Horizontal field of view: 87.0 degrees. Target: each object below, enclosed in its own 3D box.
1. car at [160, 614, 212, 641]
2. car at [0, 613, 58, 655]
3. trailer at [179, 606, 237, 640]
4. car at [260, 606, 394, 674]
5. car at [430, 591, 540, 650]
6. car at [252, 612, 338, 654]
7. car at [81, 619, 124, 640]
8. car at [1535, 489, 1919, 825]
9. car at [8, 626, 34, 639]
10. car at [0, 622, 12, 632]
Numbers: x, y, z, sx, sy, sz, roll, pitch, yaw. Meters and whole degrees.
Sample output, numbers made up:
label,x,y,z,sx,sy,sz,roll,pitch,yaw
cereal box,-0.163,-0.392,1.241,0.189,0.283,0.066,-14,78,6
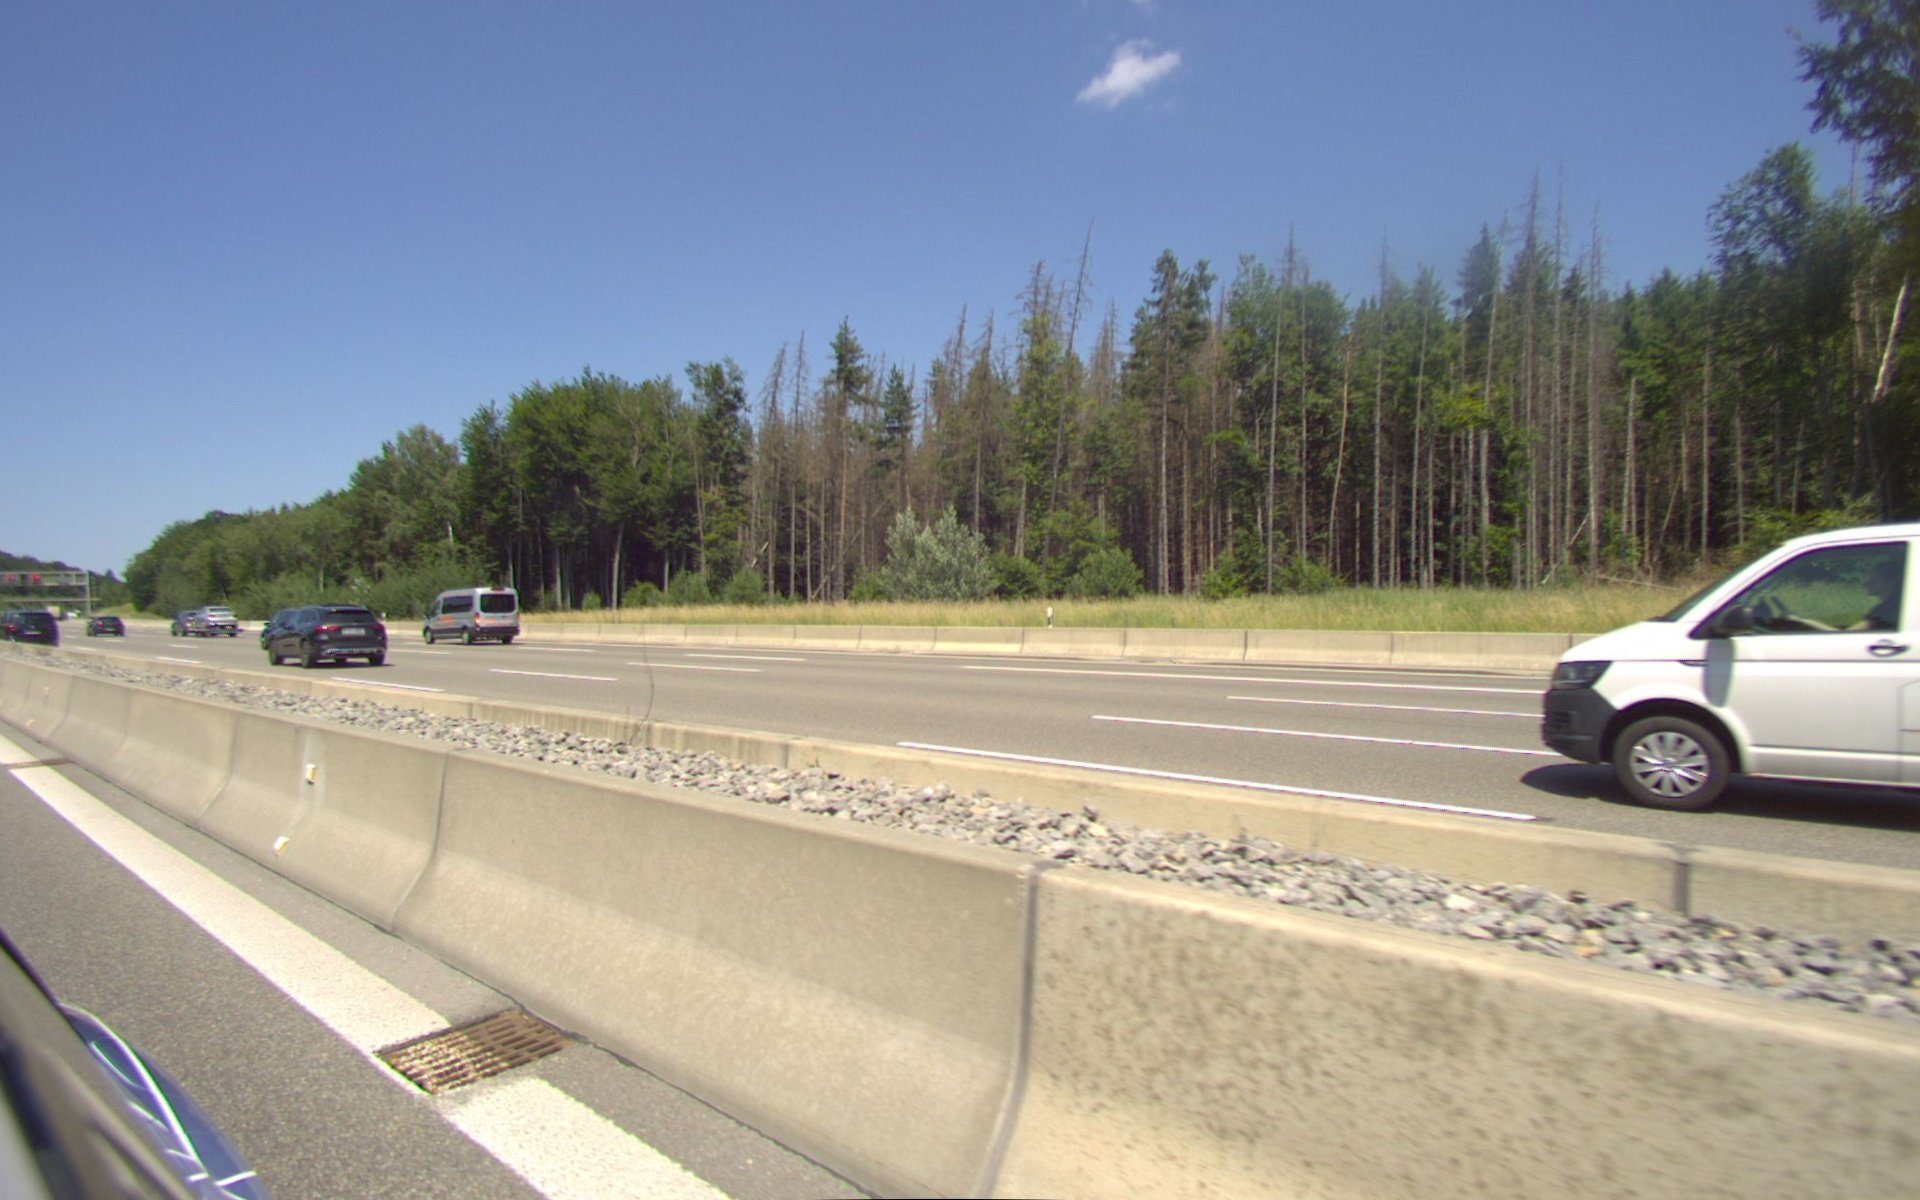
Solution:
label,x,y,z,sx,sy,sz,roll,pitch,yaw
car,-53.568,1.913,70.012,5.580,1.772,1.794,-1,-1,41
car,-40.847,1.457,44.029,5.042,1.690,1.830,-1,-1,41
trailer,-49.162,1.495,66.119,6.149,2.066,1.835,-1,-1,41
car,-17.552,1.051,27.959,5.001,1.711,1.808,-1,-1,41
car,-20.989,0.905,44.591,6.340,2.431,1.928,-1,-1,40
car,-26.693,1.302,40.545,4.671,1.582,1.711,-1,-1,41
car,-61.100,2.097,72.080,4.574,1.475,1.711,-1,-1,41
car,6.820,0.333,6.522,5.127,2.029,1.973,-1,0,41
car,-106.188,3.677,114.418,4.781,1.475,1.711,-1,-1,41
car,-148.879,4.217,157.330,3.867,1.410,1.972,-1,0,43
